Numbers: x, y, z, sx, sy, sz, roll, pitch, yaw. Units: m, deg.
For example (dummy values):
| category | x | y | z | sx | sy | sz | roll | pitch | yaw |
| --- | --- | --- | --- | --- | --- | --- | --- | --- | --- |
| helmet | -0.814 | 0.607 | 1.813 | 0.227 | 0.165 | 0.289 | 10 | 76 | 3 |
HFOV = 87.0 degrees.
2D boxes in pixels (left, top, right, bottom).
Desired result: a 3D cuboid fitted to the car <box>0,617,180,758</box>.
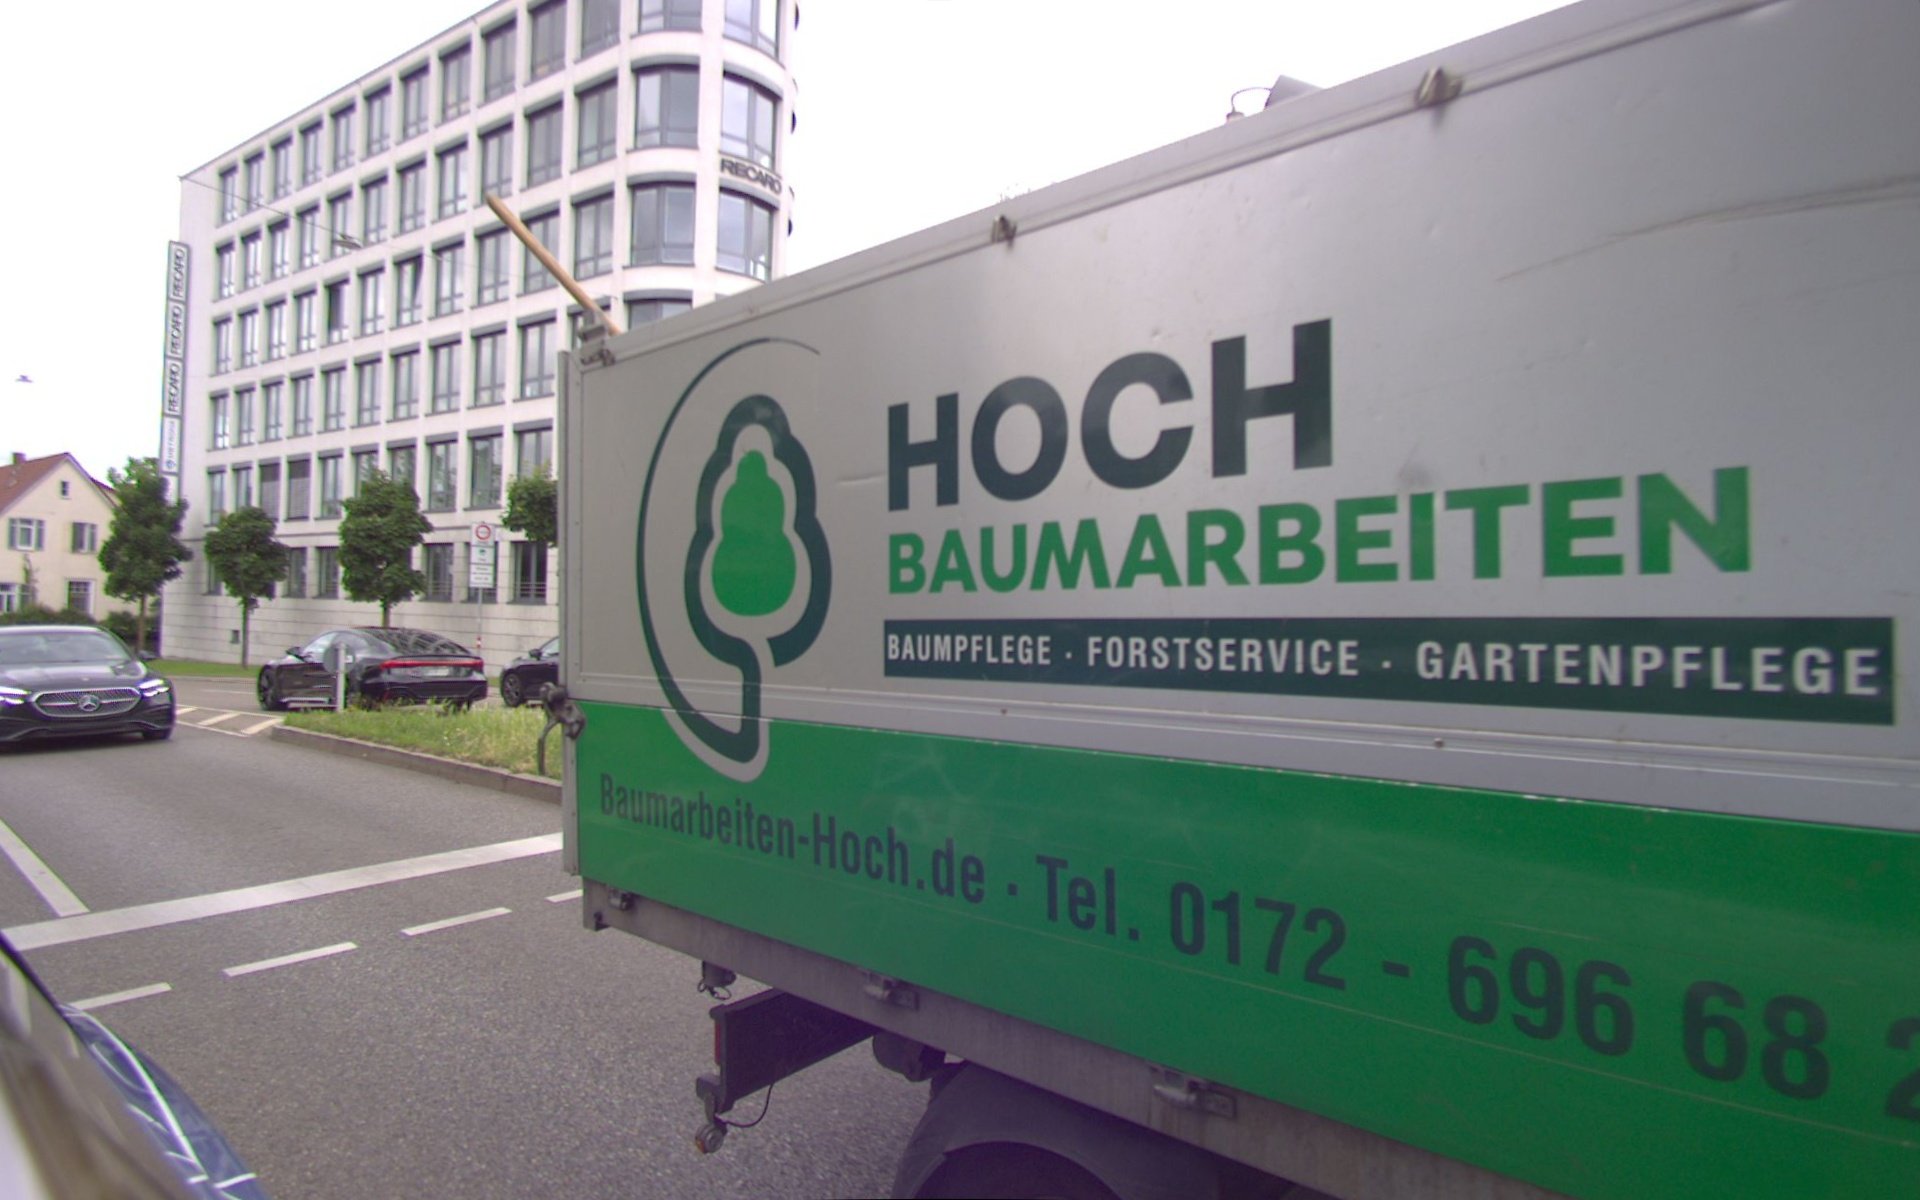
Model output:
| category | x | y | z | sx | sy | sz | roll | pitch | yaw |
| --- | --- | --- | --- | --- | --- | --- | --- | --- | --- |
| car | -11.709 | 1.068 | 12.991 | 4.332 | 1.542 | 1.854 | -3 | -3 | 41 |

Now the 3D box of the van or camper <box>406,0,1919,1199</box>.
| category | x | y | z | sx | sy | sz | roll | pitch | yaw |
| --- | --- | --- | --- | --- | --- | --- | --- | --- | --- |
| van or camper | 1.714 | 0.130 | 1.473 | 5.957 | 2.682 | 2.320 | -1 | -1 | 39 |

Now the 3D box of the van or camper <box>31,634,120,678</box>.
| category | x | y | z | sx | sy | sz | roll | pitch | yaw |
| --- | --- | --- | --- | --- | --- | --- | --- | --- | --- |
| van or camper | -42.232 | 2.674 | 48.291 | 4.860 | 1.983 | 2.043 | -3 | -4 | 34 |

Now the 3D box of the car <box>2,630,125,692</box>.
| category | x | y | z | sx | sy | sz | roll | pitch | yaw |
| --- | --- | --- | --- | --- | --- | --- | --- | --- | --- |
| car | -24.594 | 1.646 | 27.728 | 3.993 | 1.577 | 1.761 | -2 | -3 | 37 |

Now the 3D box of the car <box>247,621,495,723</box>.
| category | x | y | z | sx | sy | sz | roll | pitch | yaw |
| --- | --- | --- | --- | --- | --- | --- | --- | --- | --- |
| car | -9.866 | 1.150 | 16.853 | 4.469 | 1.492 | 1.762 | -2 | -3 | 34 |

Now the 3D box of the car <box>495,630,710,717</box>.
| category | x | y | z | sx | sy | sz | roll | pitch | yaw |
| --- | --- | --- | --- | --- | --- | --- | --- | --- | --- |
| car | -6.540 | 1.274 | 18.385 | 3.942 | 1.389 | 1.768 | -2 | -2 | 35 |
